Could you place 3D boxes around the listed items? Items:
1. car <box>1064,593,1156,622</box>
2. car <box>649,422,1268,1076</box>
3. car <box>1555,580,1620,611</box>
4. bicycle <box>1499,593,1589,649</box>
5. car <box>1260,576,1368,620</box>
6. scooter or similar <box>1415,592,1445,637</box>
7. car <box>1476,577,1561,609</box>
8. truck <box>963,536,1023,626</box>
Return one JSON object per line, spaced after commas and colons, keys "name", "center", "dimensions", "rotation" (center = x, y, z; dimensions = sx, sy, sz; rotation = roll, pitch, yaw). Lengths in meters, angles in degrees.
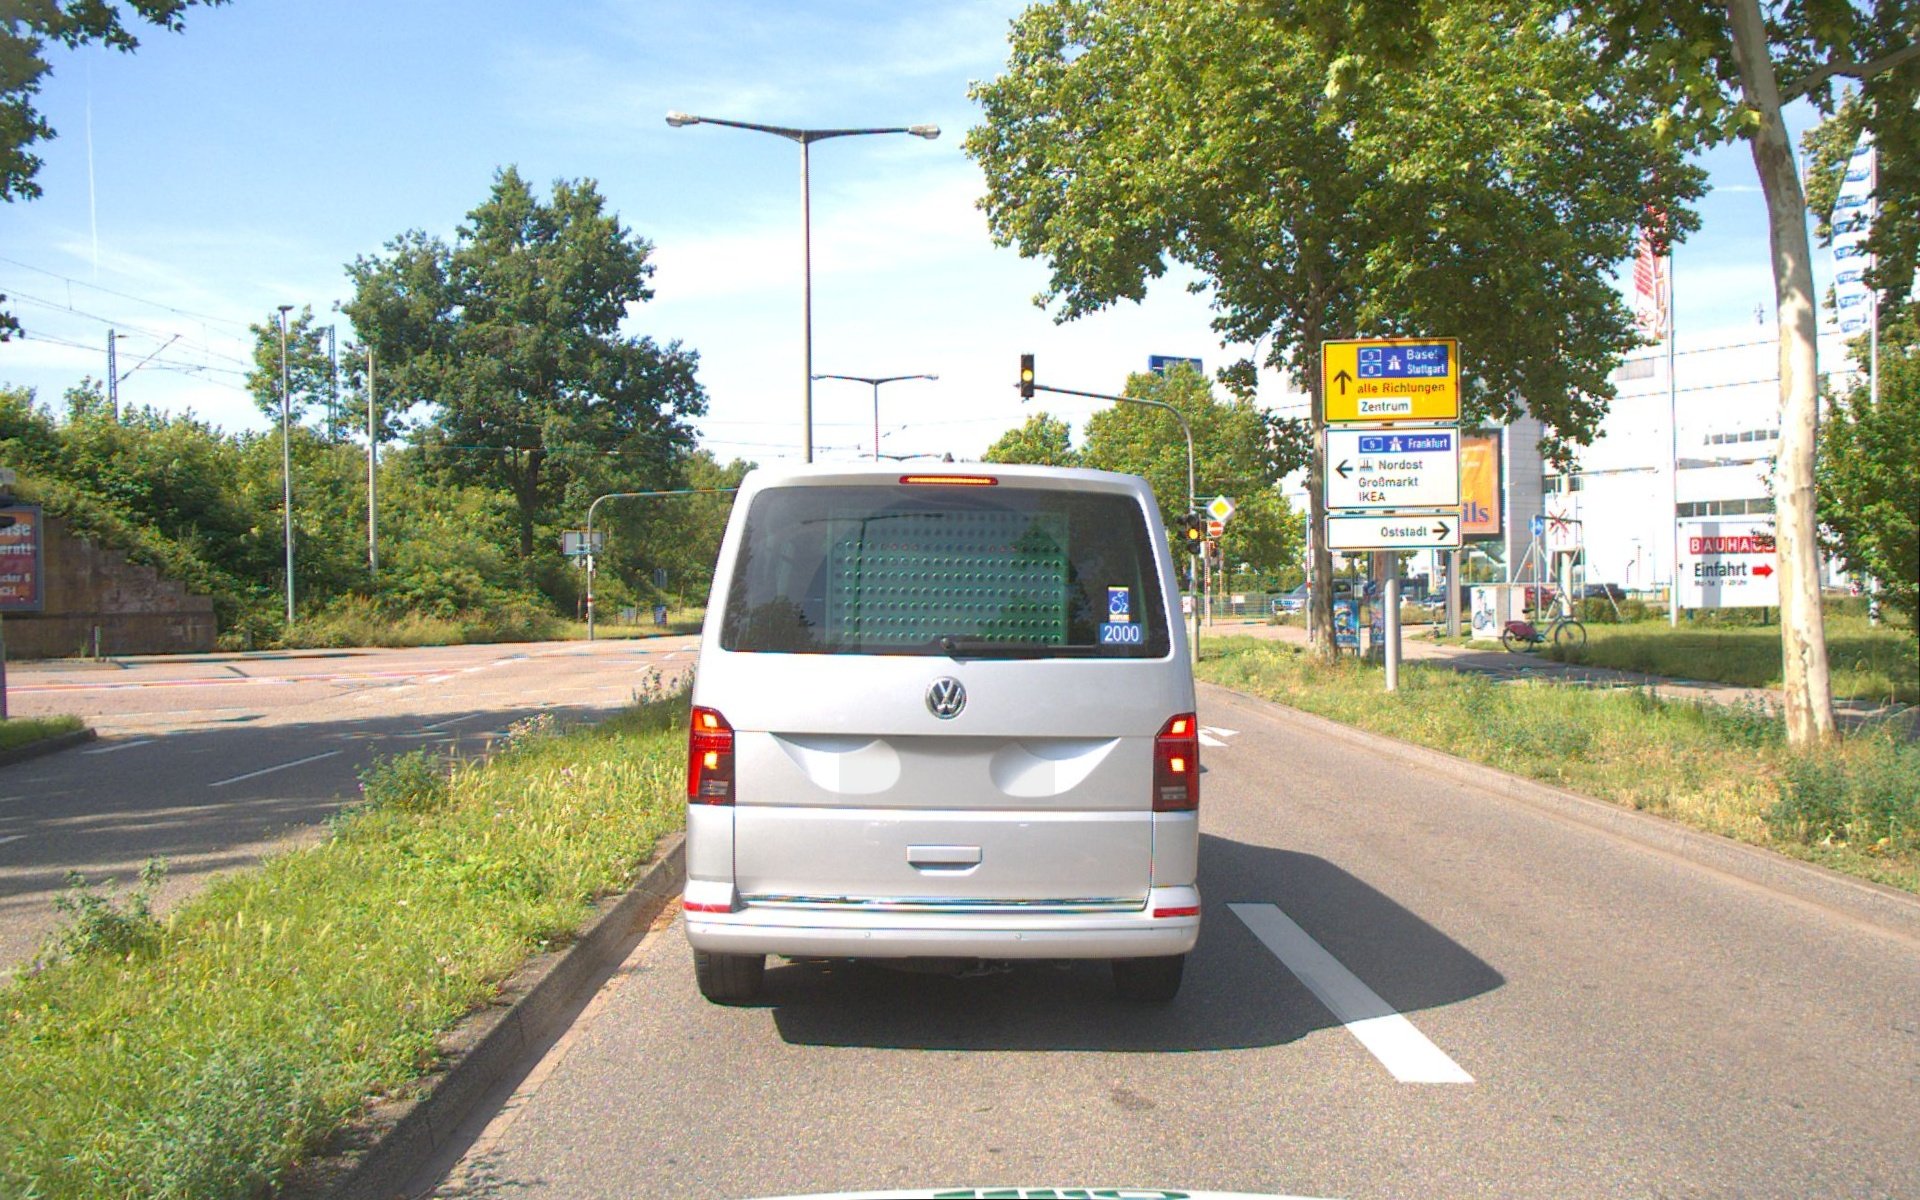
{"name": "car", "center": [7.937, 0.417, 87.737], "dimensions": [4.531, 1.469, 1.776], "rotation": [-1, 0, 34]}
{"name": "car", "center": [-0.038, 0.453, 7.632], "dimensions": [1.902, 2.006, 5.021], "rotation": [0, 0, -1]}
{"name": "car", "center": [34.477, -0.243, 90.868], "dimensions": [3.578, 1.593, 1.968], "rotation": [1, 0, -43]}
{"name": "bicycle", "center": [12.505, 0.459, 35.445], "dimensions": [1.748, 1.127, 0.504], "rotation": [-3, -1, 18]}
{"name": "car", "center": [14.783, -0.097, 68.973], "dimensions": [4.578, 1.718, 1.890], "rotation": [-1, 0, -38]}
{"name": "scooter or similar", "center": [12.092, 0.360, 42.570], "dimensions": [0.416, 1.146, 1.123], "rotation": [-1, 0, -2]}
{"name": "car", "center": [27.858, -0.352, 82.461], "dimensions": [4.578, 1.469, 1.758], "rotation": [-1, 0, -38]}
{"name": "truck", "center": [1.484, -0.877, 79.073], "dimensions": [2.501, 4.026, 8.972], "rotation": [-1, 0, -1]}
